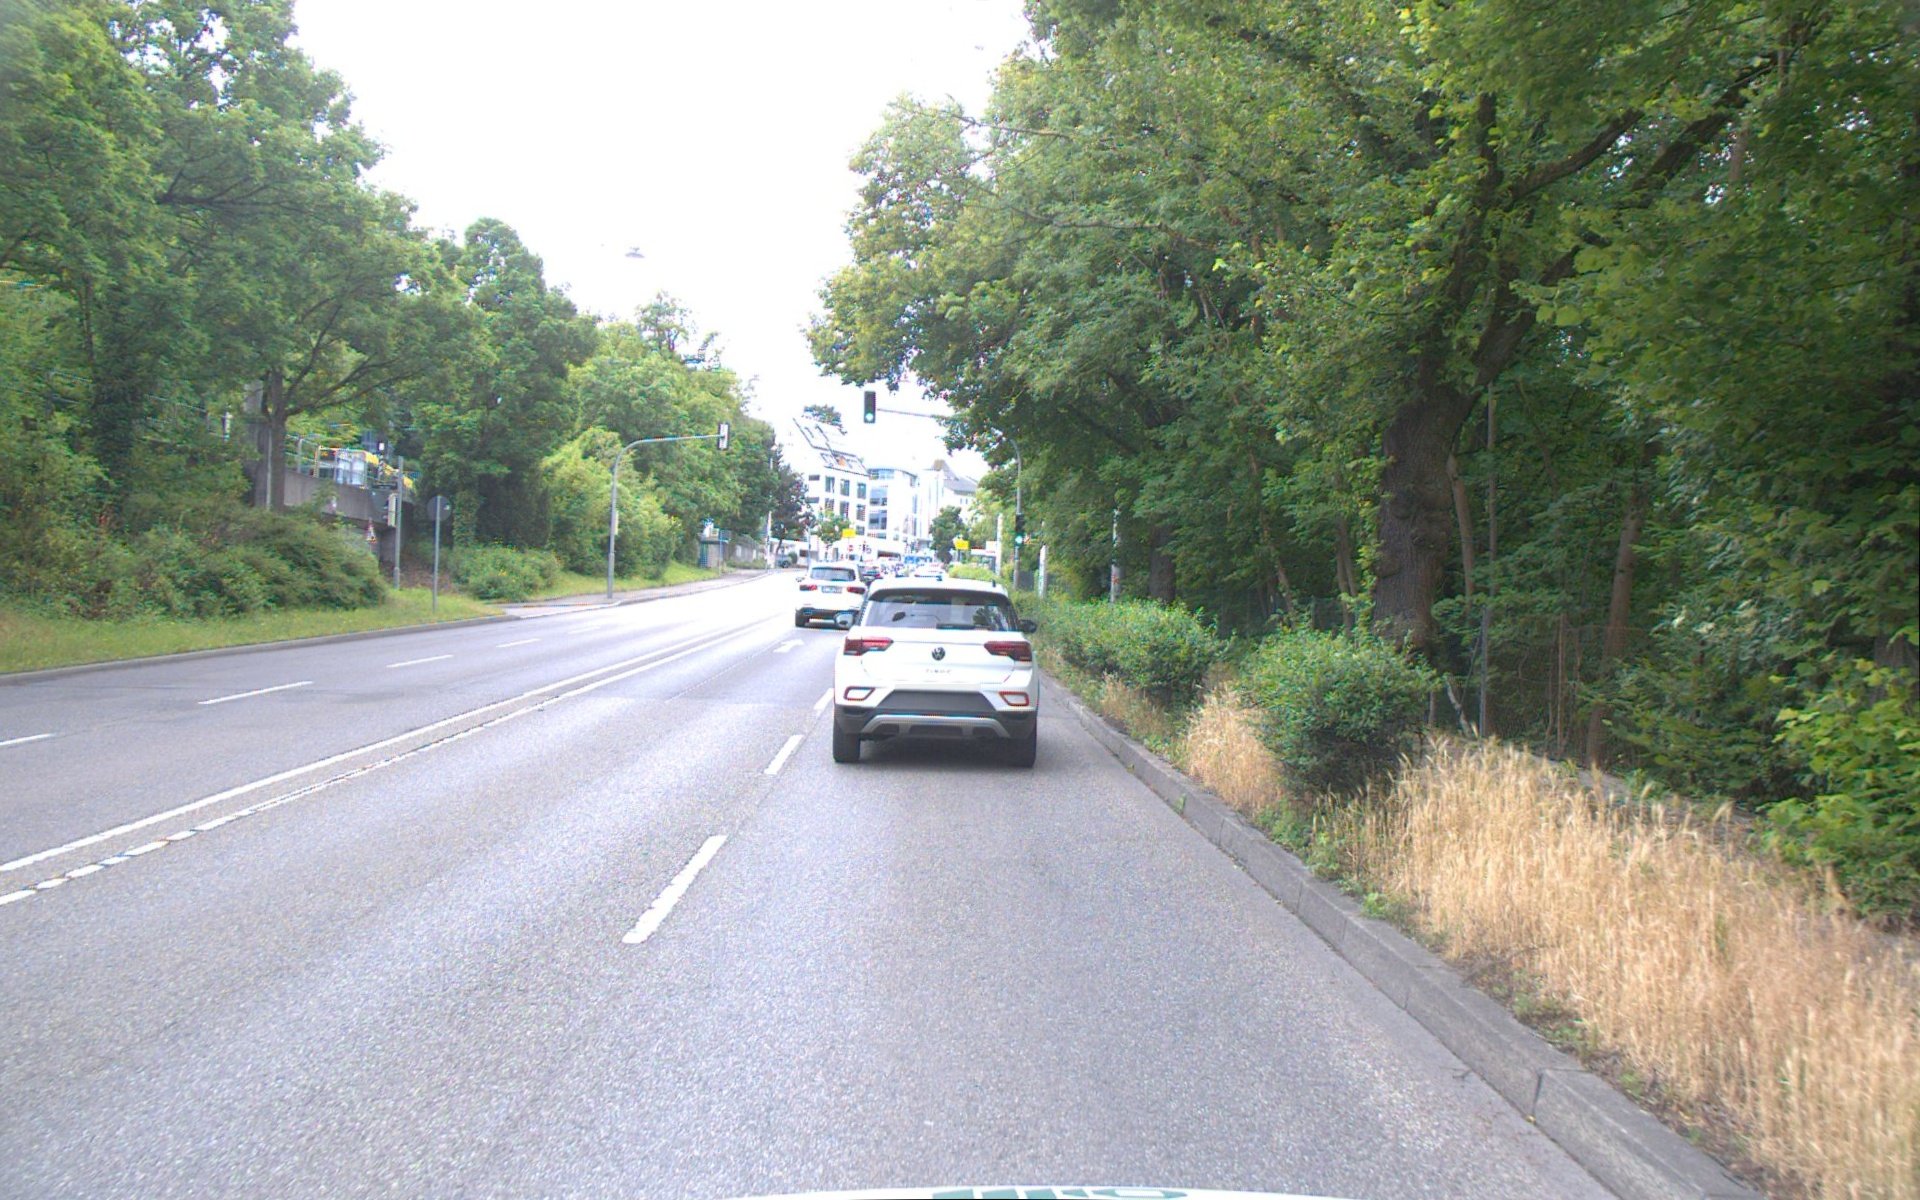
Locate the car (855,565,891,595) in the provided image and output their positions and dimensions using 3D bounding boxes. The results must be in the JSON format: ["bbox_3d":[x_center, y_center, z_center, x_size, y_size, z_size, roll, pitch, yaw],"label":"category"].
[{"bbox_3d":[-4.708,-1.091,89.713,1.792,1.552,3.999,1,1,-2],"label":"car"}]

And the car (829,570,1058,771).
[{"bbox_3d":[-0.179,0.536,15.314,1.792,1.552,3.999,2,1,-2],"label":"car"}]

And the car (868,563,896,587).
[{"bbox_3d":[-5.243,-1.703,111.683,1.792,1.552,3.999,1,1,-2],"label":"car"}]

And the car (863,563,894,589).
[{"bbox_3d":[-5.039,-1.510,102.663,1.792,1.552,3.999,1,1,-2],"label":"car"}]

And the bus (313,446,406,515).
[{"bbox_3d":[-29.871,-5.879,82.578,2.492,2.838,7.932,1,0,-7],"label":"bus"}]

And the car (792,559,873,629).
[{"bbox_3d":[-3.276,-0.192,43.206,1.879,1.698,3.999,1,1,-2],"label":"car"}]

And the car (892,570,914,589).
[{"bbox_3d":[-4.842,-1.773,141.681,1.792,1.552,3.999,1,1,-2],"label":"car"}]

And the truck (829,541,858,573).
[{"bbox_3d":[-10.302,-3.812,146.844,2.314,2.753,4.477,1,1,-2],"label":"truck"}]

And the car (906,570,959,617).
[{"bbox_3d":[-0.991,-0.256,58.631,1.792,1.552,3.999,1,1,-2],"label":"car"}]
